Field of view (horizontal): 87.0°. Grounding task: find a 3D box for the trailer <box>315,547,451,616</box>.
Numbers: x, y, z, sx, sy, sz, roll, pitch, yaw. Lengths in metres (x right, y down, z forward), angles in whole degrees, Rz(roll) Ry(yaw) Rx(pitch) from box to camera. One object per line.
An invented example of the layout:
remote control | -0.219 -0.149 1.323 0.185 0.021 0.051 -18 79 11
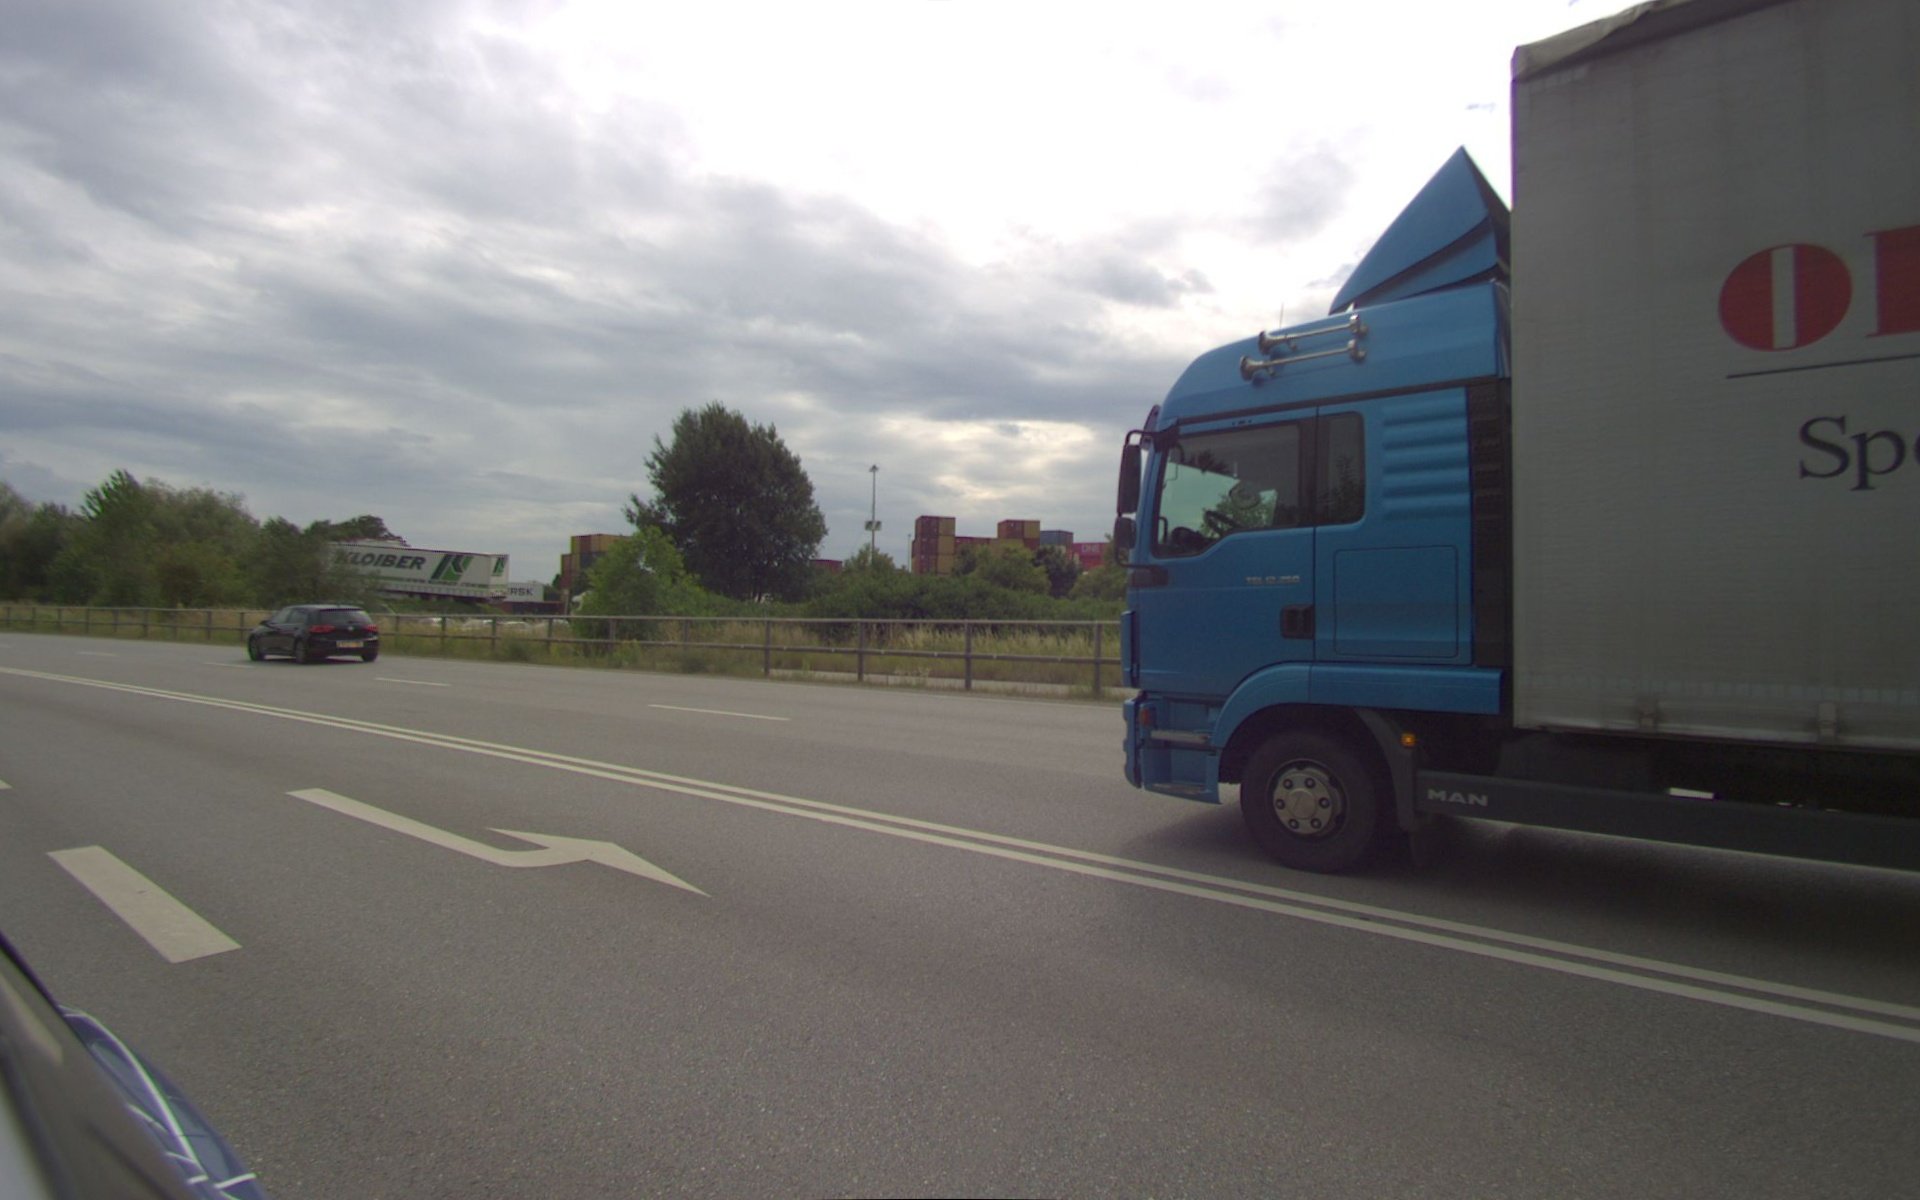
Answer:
trailer | -43.347 -1.407 76.137 8.870 5.034 2.803 0 0 5

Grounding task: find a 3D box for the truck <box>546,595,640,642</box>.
truck | -35.035 1.686 96.646 8.252 4.325 3.222 0 0 19

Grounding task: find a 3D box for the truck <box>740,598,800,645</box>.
truck | -17.693 1.956 94.193 5.341 4.325 2.204 0 0 -12

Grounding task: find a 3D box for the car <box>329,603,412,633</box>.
car | -37.815 1.120 64.946 4.470 1.890 2.005 0 0 -35

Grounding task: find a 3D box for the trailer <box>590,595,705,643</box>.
trailer | -29.237 1.758 94.650 10.321 4.325 3.222 0 0 19

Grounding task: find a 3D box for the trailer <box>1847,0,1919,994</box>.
trailer | 6.585 -0.719 2.345 6.732 4.132 2.501 -1 -1 41

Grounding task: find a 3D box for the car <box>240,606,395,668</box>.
car | -16.307 0.877 25.644 3.990 1.452 1.930 0 -1 35

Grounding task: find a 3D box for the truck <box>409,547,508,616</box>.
truck | -37.421 -1.348 75.623 6.111 5.034 2.801 0 0 5

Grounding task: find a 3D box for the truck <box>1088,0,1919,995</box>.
truck | 3.058 -0.676 5.424 3.998 4.127 2.513 -1 -1 41
